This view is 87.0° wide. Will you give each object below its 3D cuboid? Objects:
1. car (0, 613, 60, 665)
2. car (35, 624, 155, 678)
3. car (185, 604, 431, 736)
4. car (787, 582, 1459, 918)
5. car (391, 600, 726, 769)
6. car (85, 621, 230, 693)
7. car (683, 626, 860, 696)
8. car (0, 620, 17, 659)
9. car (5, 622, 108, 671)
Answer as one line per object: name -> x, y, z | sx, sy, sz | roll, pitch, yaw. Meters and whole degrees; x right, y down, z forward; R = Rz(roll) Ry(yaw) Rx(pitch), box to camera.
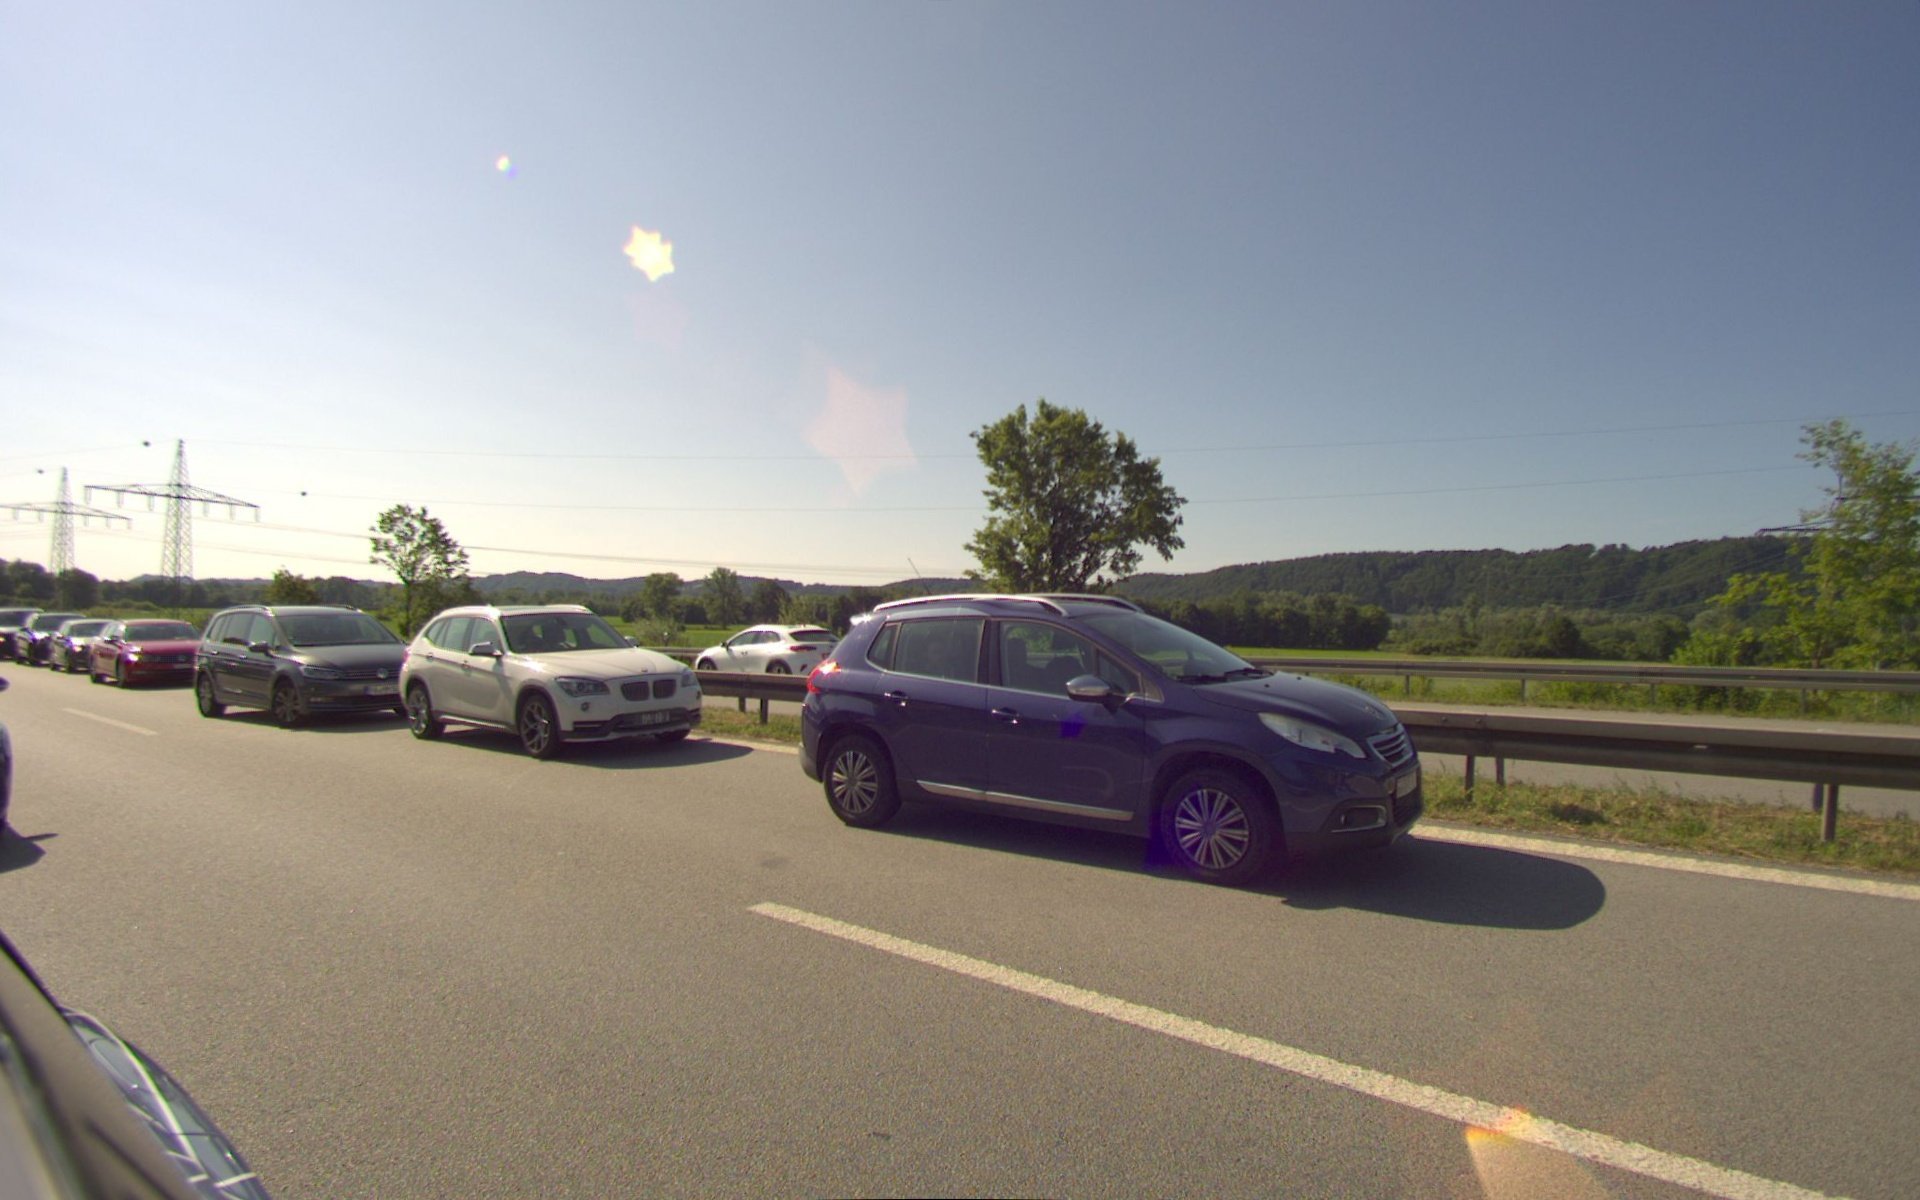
car -> -34.420, 1.414, 36.758 | 4.195, 1.801, 1.878 | -1, -2, 39
car -> -24.417, 1.386, 28.534 | 3.995, 1.409, 1.871 | -1, -2, 39
car -> -9.501, 0.909, 14.639 | 4.113, 1.628, 1.797 | -1, -1, 39
car -> 0.885, 0.713, 6.517 | 3.941, 1.546, 1.672 | -1, 0, 36
car -> -4.683, 0.839, 11.537 | 4.160, 1.586, 1.809 | -1, -2, 40
car -> -17.999, 1.221, 22.645 | 4.115, 1.470, 1.796 | -1, -2, 41
car -> -4.399, 1.334, 23.253 | 4.302, 1.437, 1.677 | -1, -1, 40
car -> -40.075, 1.600, 41.157 | 3.996, 1.542, 1.974 | -1, -2, 39
car -> -29.037, 1.462, 32.497 | 3.996, 1.466, 1.870 | -1, -2, 40
